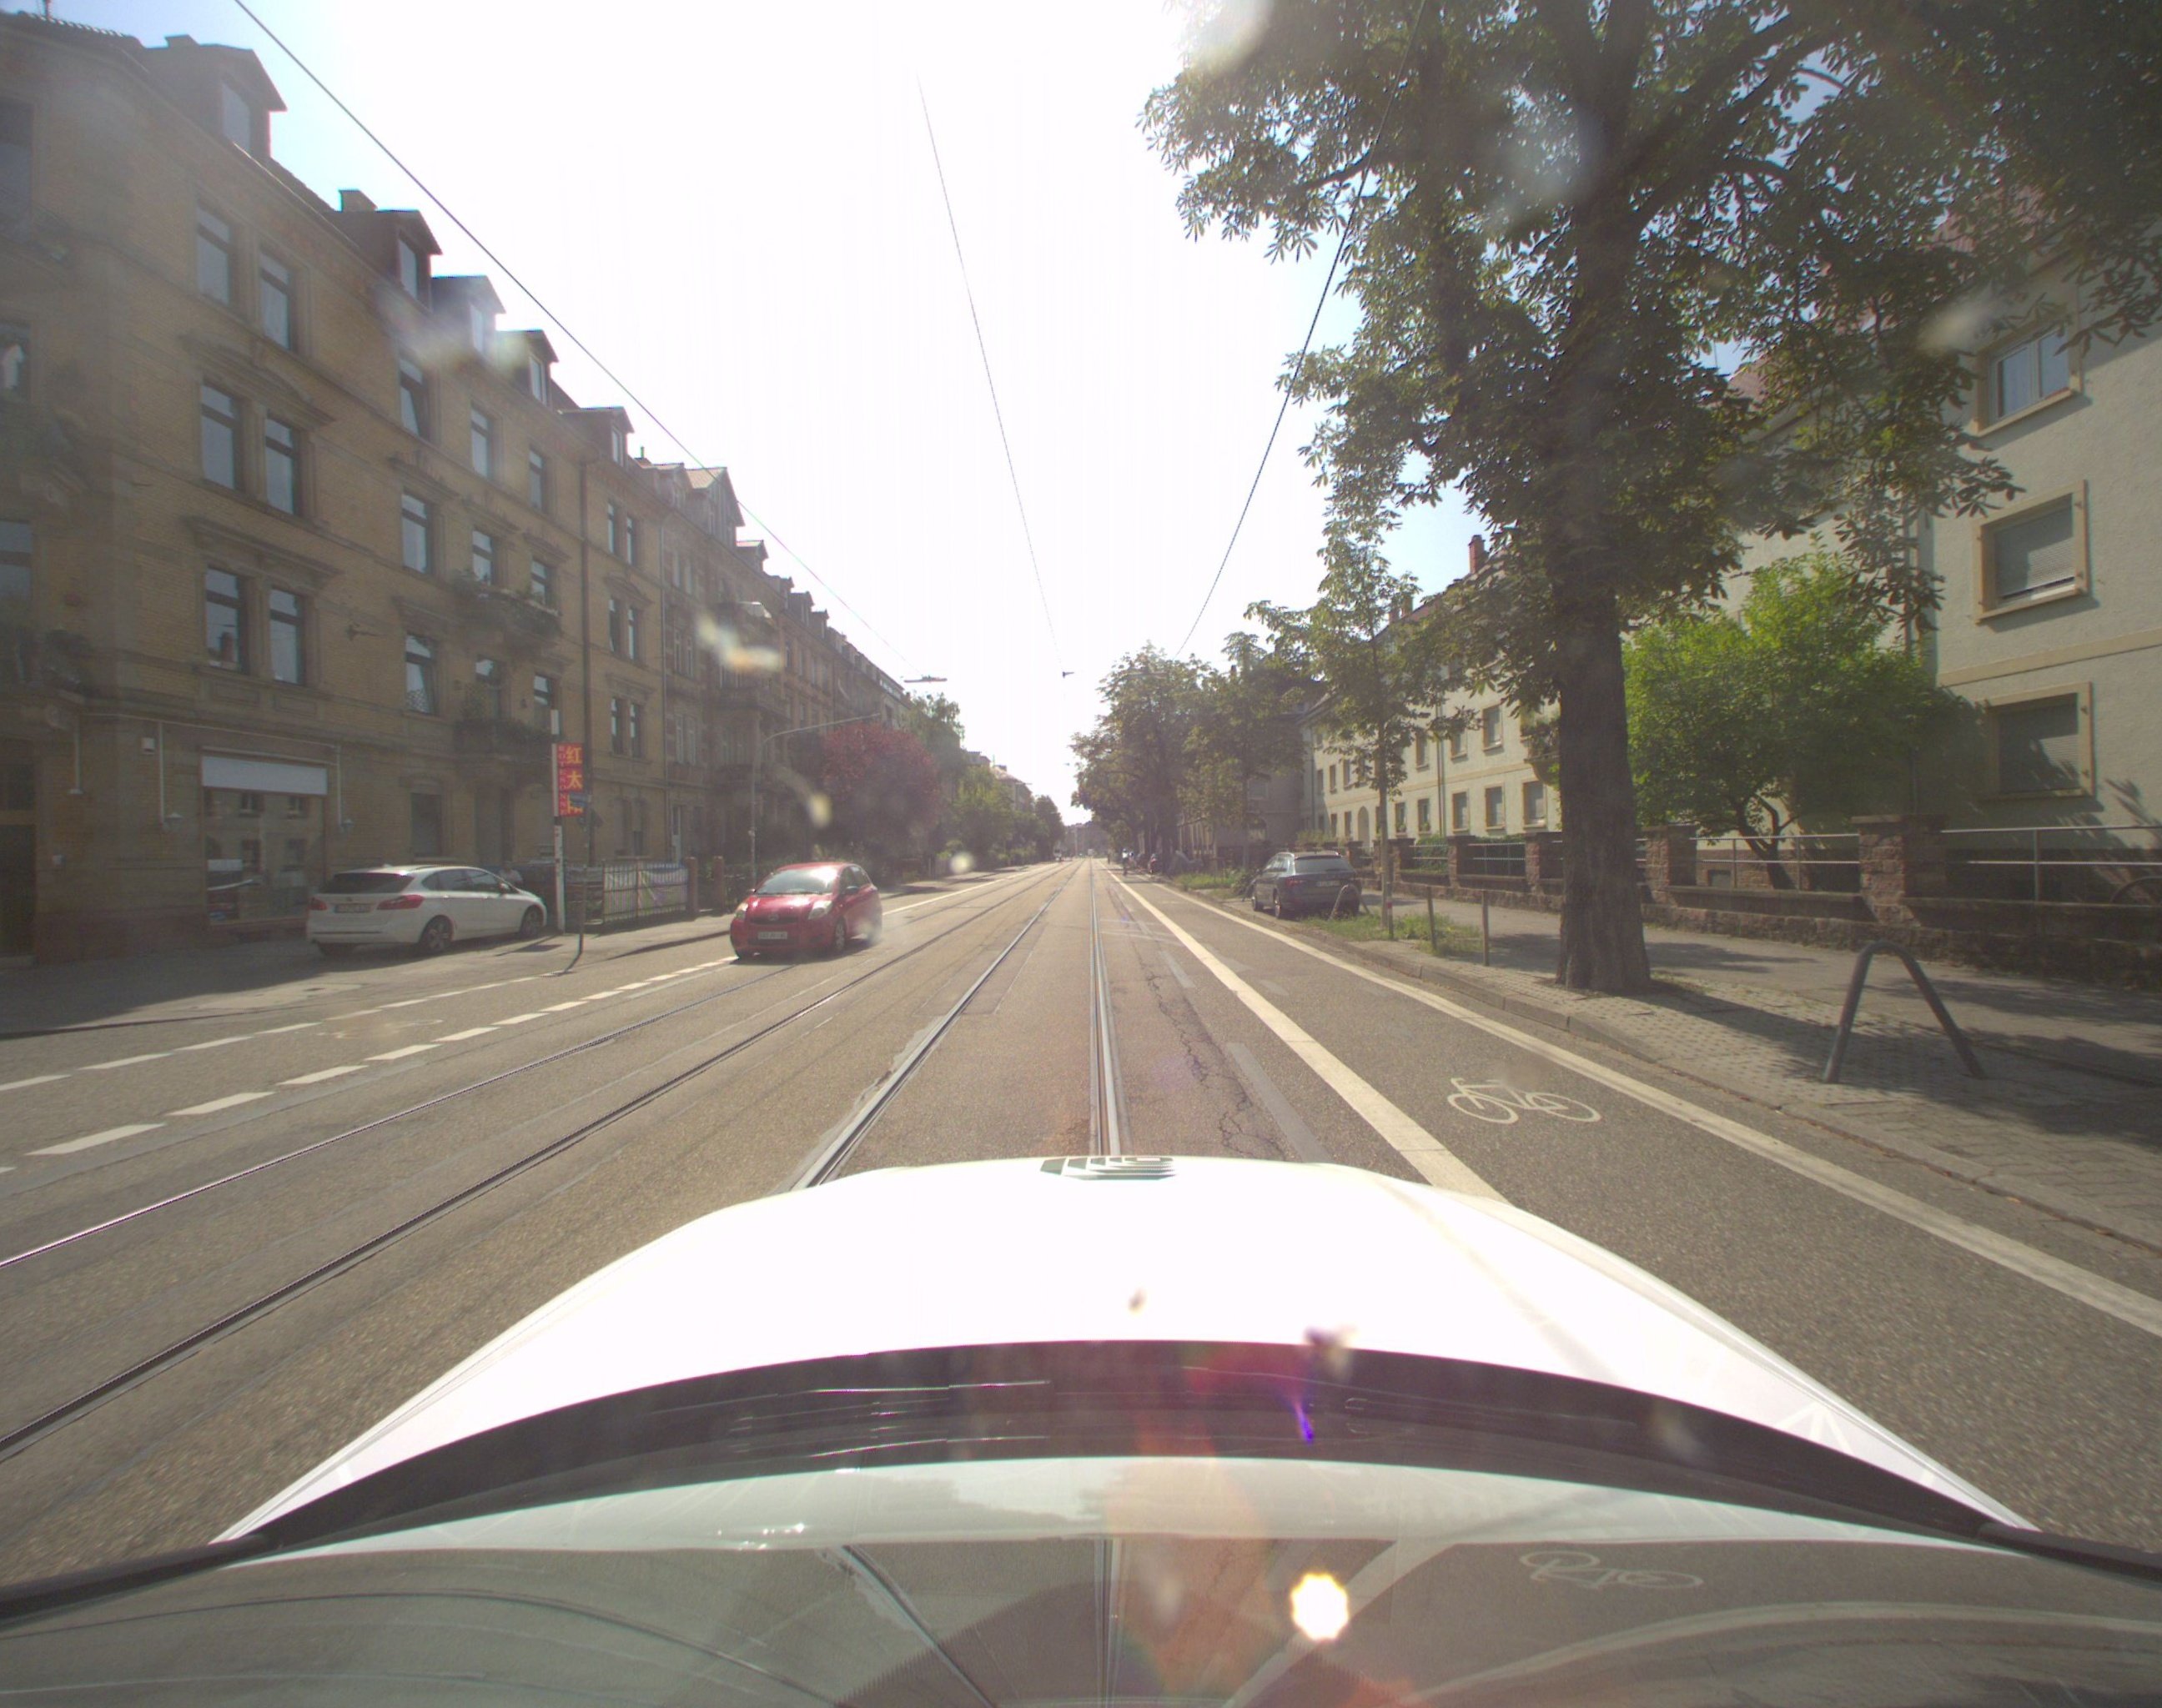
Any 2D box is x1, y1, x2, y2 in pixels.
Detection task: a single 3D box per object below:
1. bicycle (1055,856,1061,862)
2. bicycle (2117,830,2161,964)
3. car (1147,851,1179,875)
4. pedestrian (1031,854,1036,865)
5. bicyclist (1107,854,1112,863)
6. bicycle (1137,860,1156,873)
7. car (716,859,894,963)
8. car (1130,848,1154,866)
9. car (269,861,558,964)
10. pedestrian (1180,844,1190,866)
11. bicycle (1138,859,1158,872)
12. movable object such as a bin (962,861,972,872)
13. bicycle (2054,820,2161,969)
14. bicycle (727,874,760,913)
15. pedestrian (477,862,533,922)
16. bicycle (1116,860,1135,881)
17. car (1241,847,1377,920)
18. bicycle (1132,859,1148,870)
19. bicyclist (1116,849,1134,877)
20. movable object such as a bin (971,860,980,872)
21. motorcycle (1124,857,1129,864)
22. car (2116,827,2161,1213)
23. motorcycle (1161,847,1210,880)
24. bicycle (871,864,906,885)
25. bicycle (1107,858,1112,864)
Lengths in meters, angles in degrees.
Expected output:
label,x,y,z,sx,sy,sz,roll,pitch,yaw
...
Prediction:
label,x,y,z,sx,sy,sz,roll,pitch,yaw
bicycle,-3.698,0.853,131.205,0.756,0.991,2.298,-2,-1,0
bicycle,10.320,0.399,7.153,0.400,1.258,1.580,-2,0,1
car,5.744,0.615,57.726,1.834,1.532,4.115,-2,1,0
pedestrian,-7.707,0.893,131.956,0.777,1.756,1.040,-2,-1,1
bicyclist,4.199,0.616,120.373,0.576,1.279,0.471,-2,-1,2
bicycle,5.715,1.056,71.078,1.597,1.104,0.399,-1,-1,6
car,-4.693,0.883,14.478,1.726,1.490,4.000,-2,0,0
car,5.598,0.300,75.413,1.834,1.532,4.779,-3,0,0
car,-12.299,0.965,15.488,1.989,1.594,4.354,-2,0,-3
pedestrian,9.093,0.059,71.084,0.704,1.892,0.714,-2,-1,2
bicycle,5.885,1.025,71.458,1.713,1.149,0.377,-1,-1,6
movable object such as a bin,-11.141,1.177,79.446,0.783,1.076,0.804,0,-1,3
bicycle,9.863,0.354,7.113,0.454,1.333,1.892,-2,0,1
bicycle,-10.267,1.179,24.823,0.389,1.099,1.567,-1,0,-2
pedestrian,-15.284,0.989,21.641,0.867,1.511,0.884,-2,0,-8
bicycle,2.916,1.088,53.385,1.143,1.269,2.713,-2,0,2
car,5.278,0.615,19.566,1.886,1.477,4.840,-2,0,0
bicycle,6.190,1.118,85.479,1.707,1.032,0.566,-2,-1,1
bicyclist,2.899,0.587,53.447,1.121,1.837,0.956,-2,-1,1
movable object such as a bin,-10.304,1.167,79.439,0.783,1.076,0.804,0,-1,3
motorcycle,7.156,0.975,127.889,0.547,1.068,2.330,-2,-1,1
car,4.989,0.610,1.040,1.750,1.477,4.385,-2,0,0
motorcycle,5.377,0.502,42.046,2.316,1.540,0.975,-5,-3,42
bicycle,-11.147,1.163,47.120,1.805,1.182,0.717,0,-1,2
bicycle,4.210,1.049,120.368,0.585,0.939,2.173,-2,-1,3
